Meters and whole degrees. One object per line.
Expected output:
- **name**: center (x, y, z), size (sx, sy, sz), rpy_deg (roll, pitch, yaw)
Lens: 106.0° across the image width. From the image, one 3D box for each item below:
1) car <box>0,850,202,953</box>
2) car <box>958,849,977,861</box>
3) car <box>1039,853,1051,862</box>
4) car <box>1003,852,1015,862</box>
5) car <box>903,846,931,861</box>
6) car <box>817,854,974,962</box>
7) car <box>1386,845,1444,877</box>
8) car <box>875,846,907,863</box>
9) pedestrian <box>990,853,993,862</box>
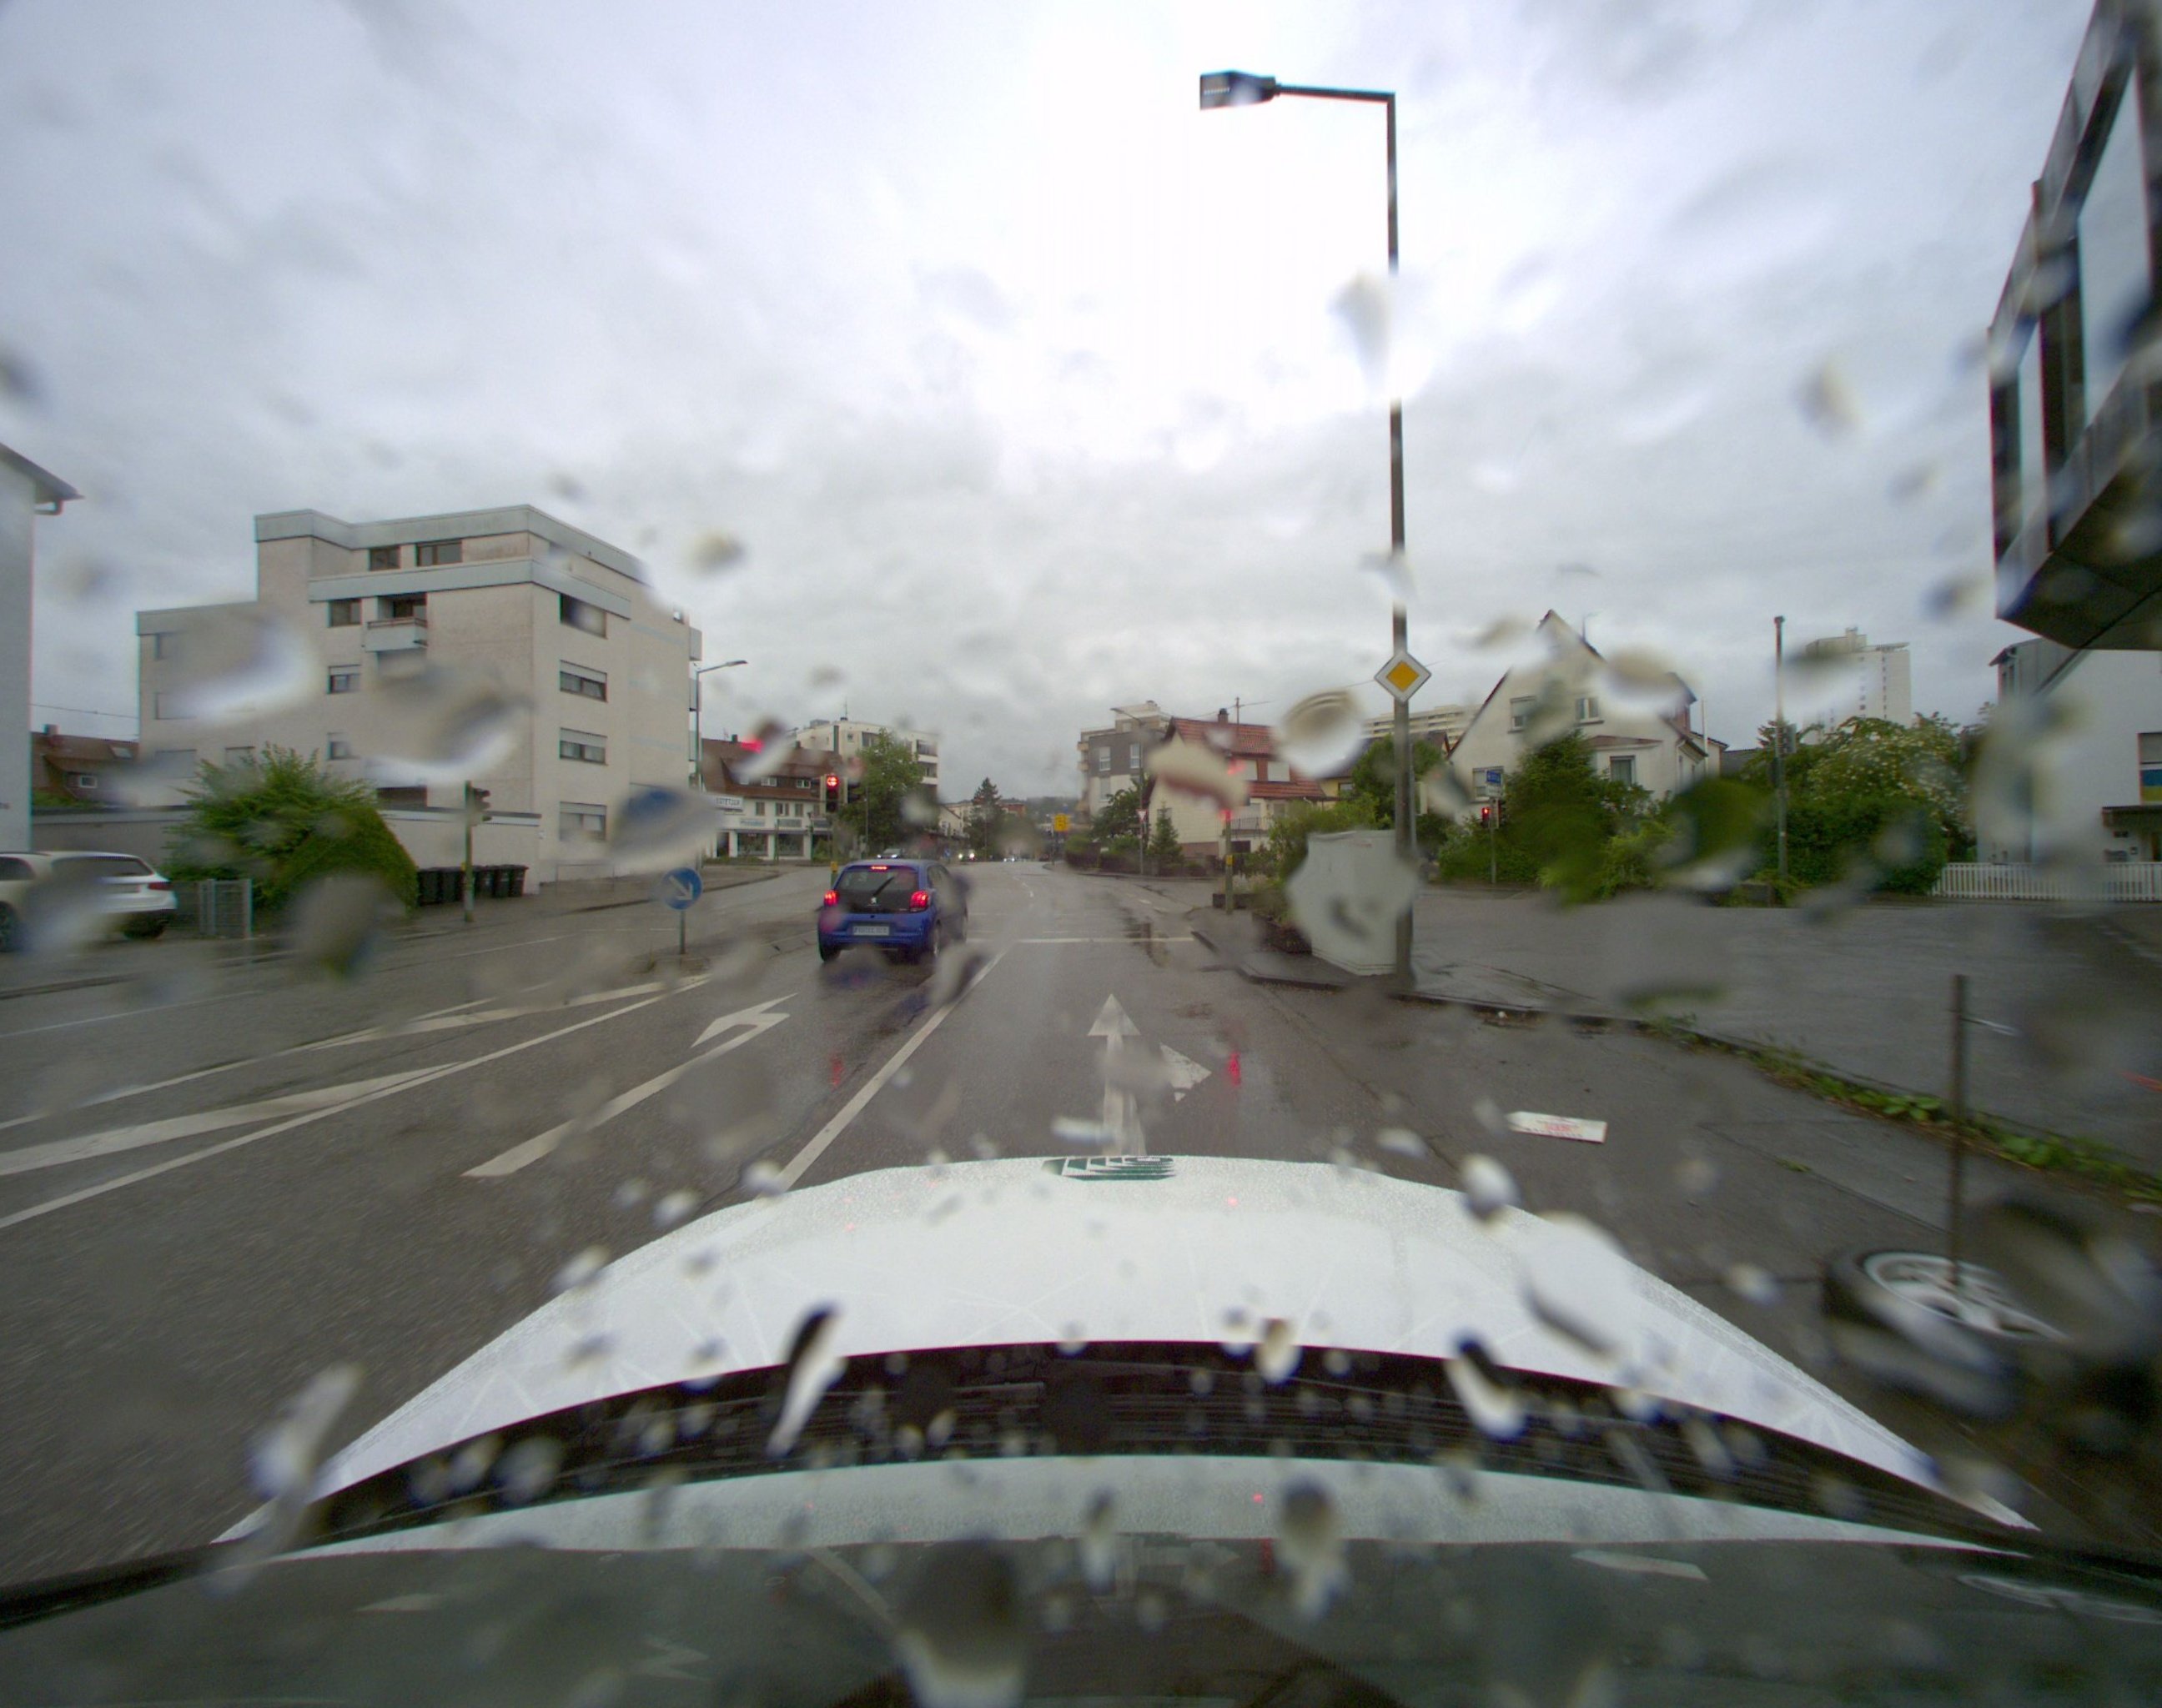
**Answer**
- **car**: center (-18.567, 0.798, 14.437), size (4.422, 1.636, 1.945), rpy_deg (-1, 0, 11)
- **car**: center (-14.001, 0.063, 100.807), size (1.772, 1.420, 3.831), rpy_deg (0, 1, 1)
- **car**: center (-6.689, 0.683, 152.680), size (1.806, 1.486, 4.191), rpy_deg (-1, 0, 2)
- **car**: center (-13.520, 0.484, 152.632), size (1.749, 1.815, 3.863), rpy_deg (0, 1, 2)
- **car**: center (-15.617, -0.056, 77.753), size (1.709, 1.387, 4.021), rpy_deg (0, 1, 1)
- **car**: center (-2.691, 0.726, 12.508), size (1.573, 1.410, 3.271), rpy_deg (0, 0, 1)
- **car**: center (17.060, 0.325, 41.530), size (1.723, 1.514, 4.025), rpy_deg (0, 1, 38)
- **car**: center (-16.432, 0.002, 70.515), size (1.772, 1.420, 3.831), rpy_deg (0, 1, 1)
- **pedestrian**: center (-16.938, 0.594, 153.889), size (0.492, 1.658, 0.437), rpy_deg (0, 0, 37)
